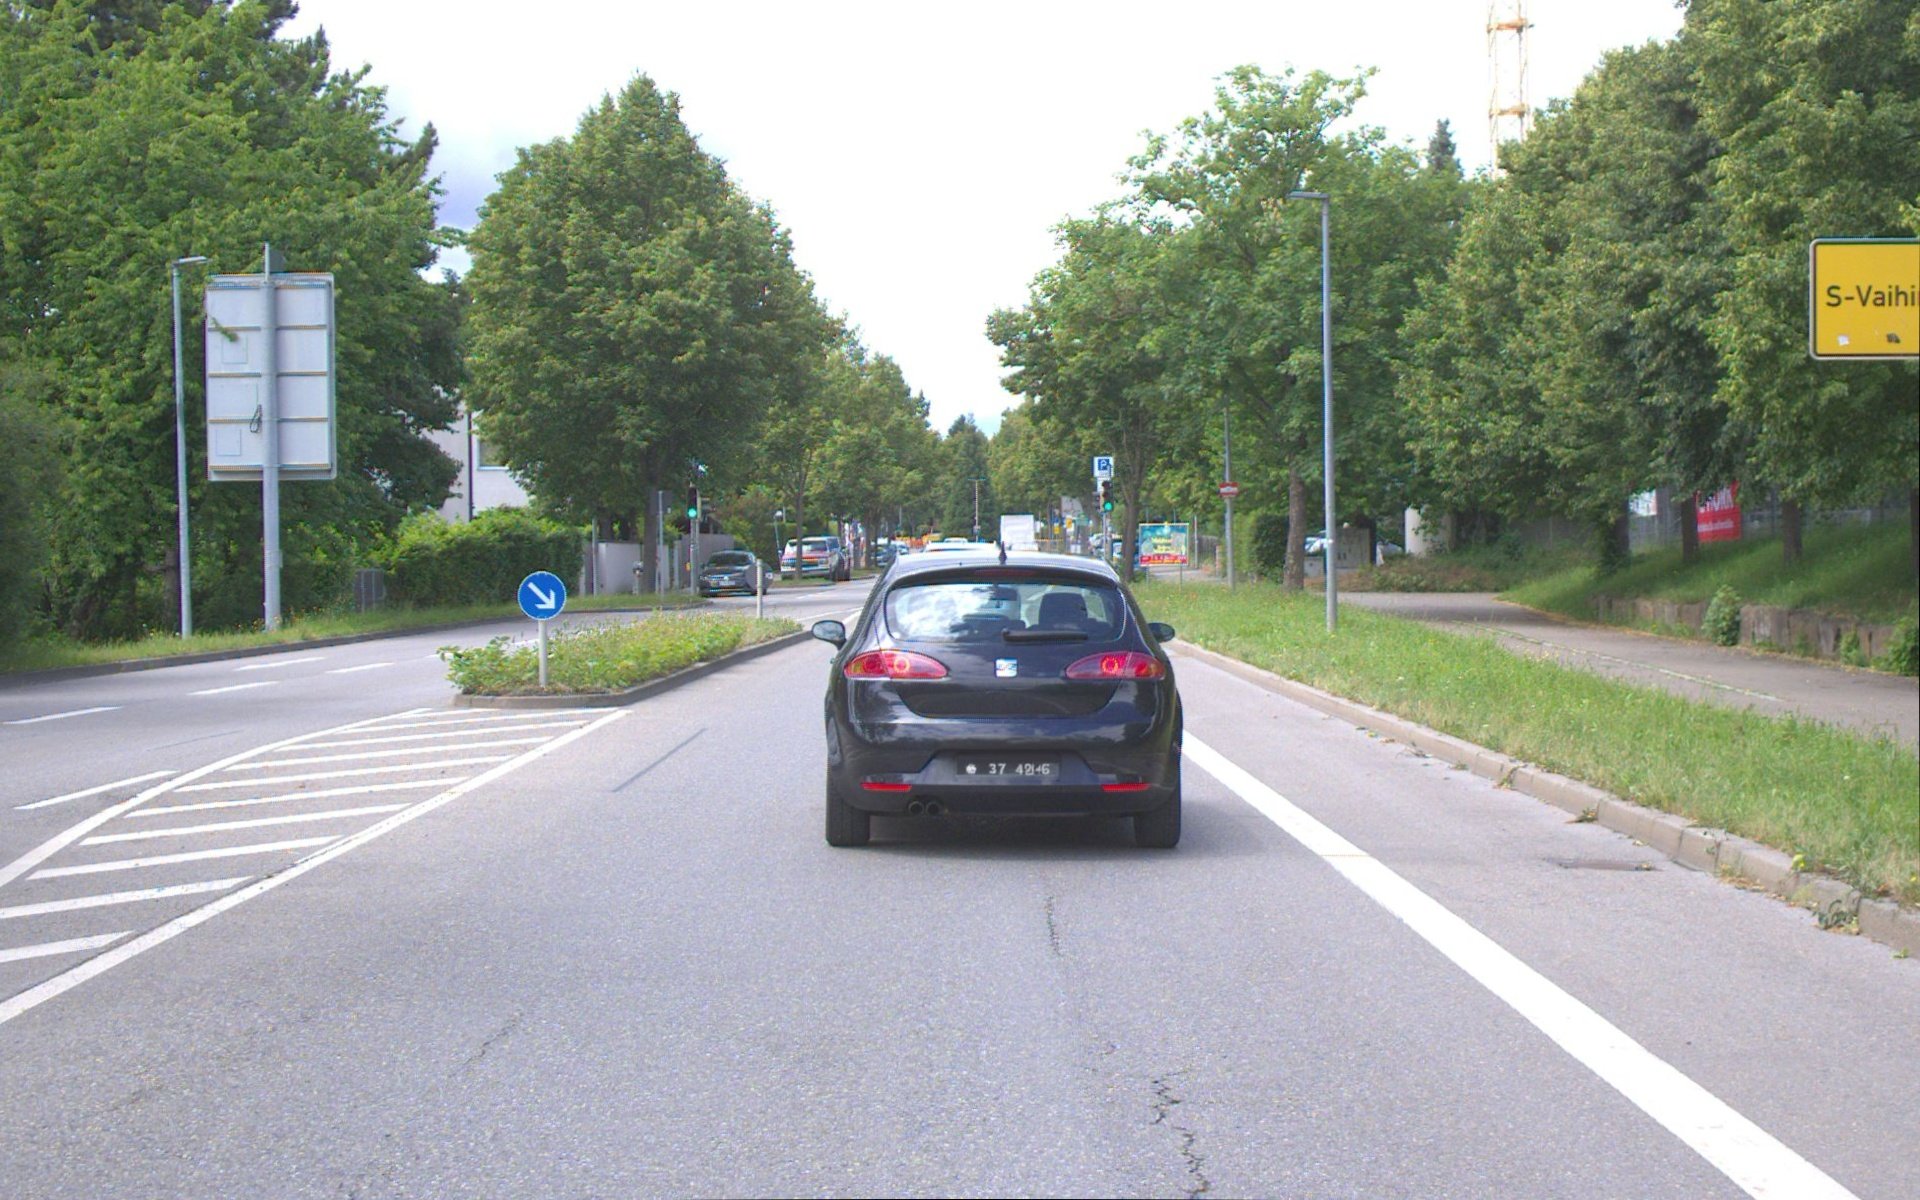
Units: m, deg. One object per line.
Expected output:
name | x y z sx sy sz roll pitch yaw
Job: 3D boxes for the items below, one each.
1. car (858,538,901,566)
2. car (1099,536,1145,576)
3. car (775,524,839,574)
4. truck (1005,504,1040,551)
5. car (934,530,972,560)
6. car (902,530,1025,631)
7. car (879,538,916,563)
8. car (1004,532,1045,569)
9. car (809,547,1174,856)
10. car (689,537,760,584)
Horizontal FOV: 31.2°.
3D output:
car | -4.559 -2.723 195.030 2.100 1.501 5.784 -2 1 1
car | 6.217 -1.688 131.936 1.688 1.485 3.355 -1 1 1
car | -6.098 -2.044 137.814 2.100 1.890 5.784 -2 1 1
truck | 4.257 -4.947 235.486 2.279 3.093 8.511 1 1 1
car | -0.405 -3.214 200.169 1.875 1.629 4.340 -2 1 3
car | 0.064 -0.322 54.364 1.846 1.504 3.812 1 1 0
car | -4.136 -3.292 227.855 2.100 1.501 5.784 -2 1 1
car | 3.008 -2.287 159.381 1.881 1.683 4.214 -1 1 1
car | 0.150 0.444 17.769 1.663 1.396 3.812 1 1 0
car | -7.417 -1.258 108.639 1.718 1.390 4.801 -2 1 1
